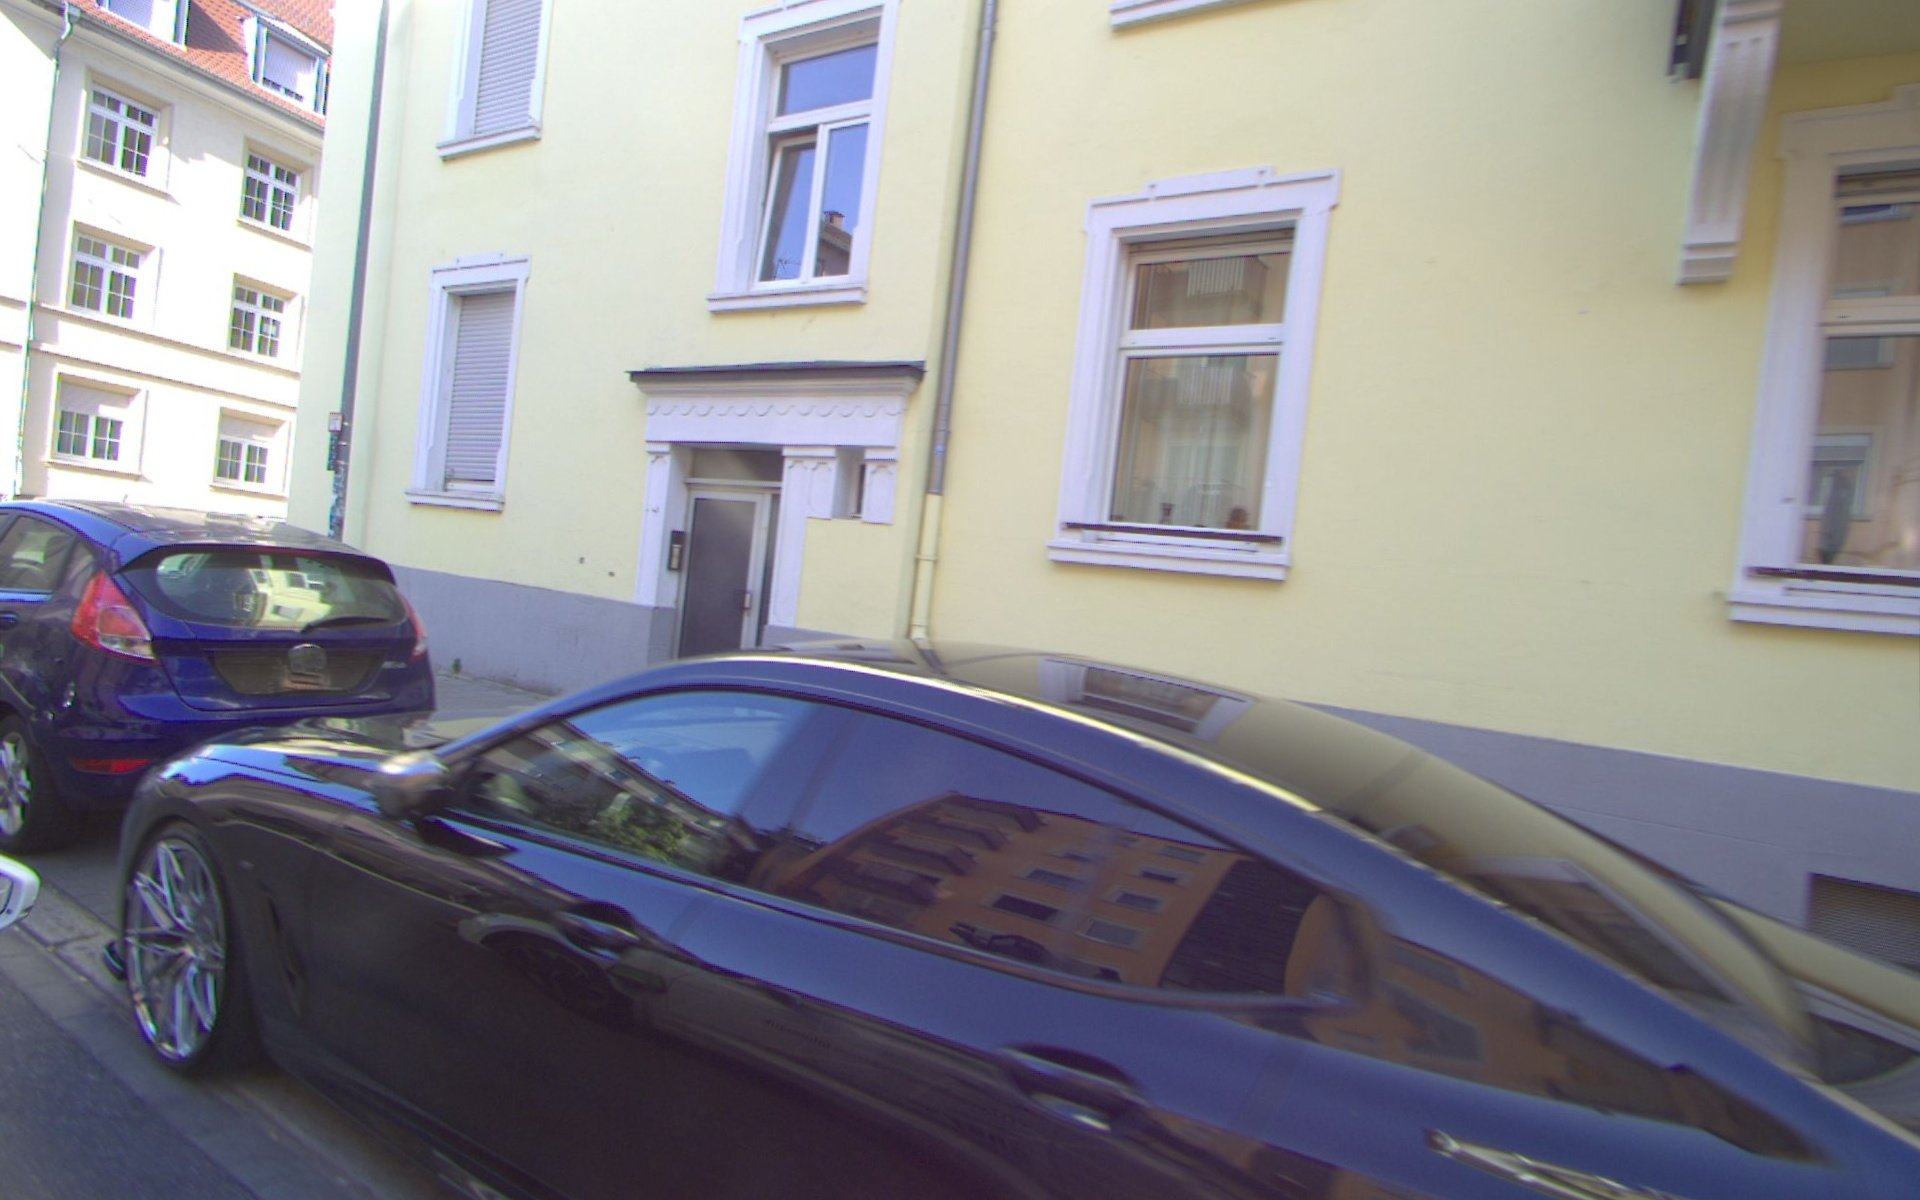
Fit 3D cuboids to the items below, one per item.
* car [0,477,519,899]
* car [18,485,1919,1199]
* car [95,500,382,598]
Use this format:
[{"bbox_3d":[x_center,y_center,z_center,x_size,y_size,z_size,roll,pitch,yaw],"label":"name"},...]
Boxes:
[{"bbox_3d":[-4.516,0.169,5.426,4.014,1.490,1.764,7,3,28],"label":"car"},{"bbox_3d":[-0.300,0.679,2.631,5.025,1.490,1.801,7,3,31],"label":"car"},{"bbox_3d":[-14.903,-0.989,21.118,1.796,1.486,4.549,5,-1,25],"label":"car"}]
